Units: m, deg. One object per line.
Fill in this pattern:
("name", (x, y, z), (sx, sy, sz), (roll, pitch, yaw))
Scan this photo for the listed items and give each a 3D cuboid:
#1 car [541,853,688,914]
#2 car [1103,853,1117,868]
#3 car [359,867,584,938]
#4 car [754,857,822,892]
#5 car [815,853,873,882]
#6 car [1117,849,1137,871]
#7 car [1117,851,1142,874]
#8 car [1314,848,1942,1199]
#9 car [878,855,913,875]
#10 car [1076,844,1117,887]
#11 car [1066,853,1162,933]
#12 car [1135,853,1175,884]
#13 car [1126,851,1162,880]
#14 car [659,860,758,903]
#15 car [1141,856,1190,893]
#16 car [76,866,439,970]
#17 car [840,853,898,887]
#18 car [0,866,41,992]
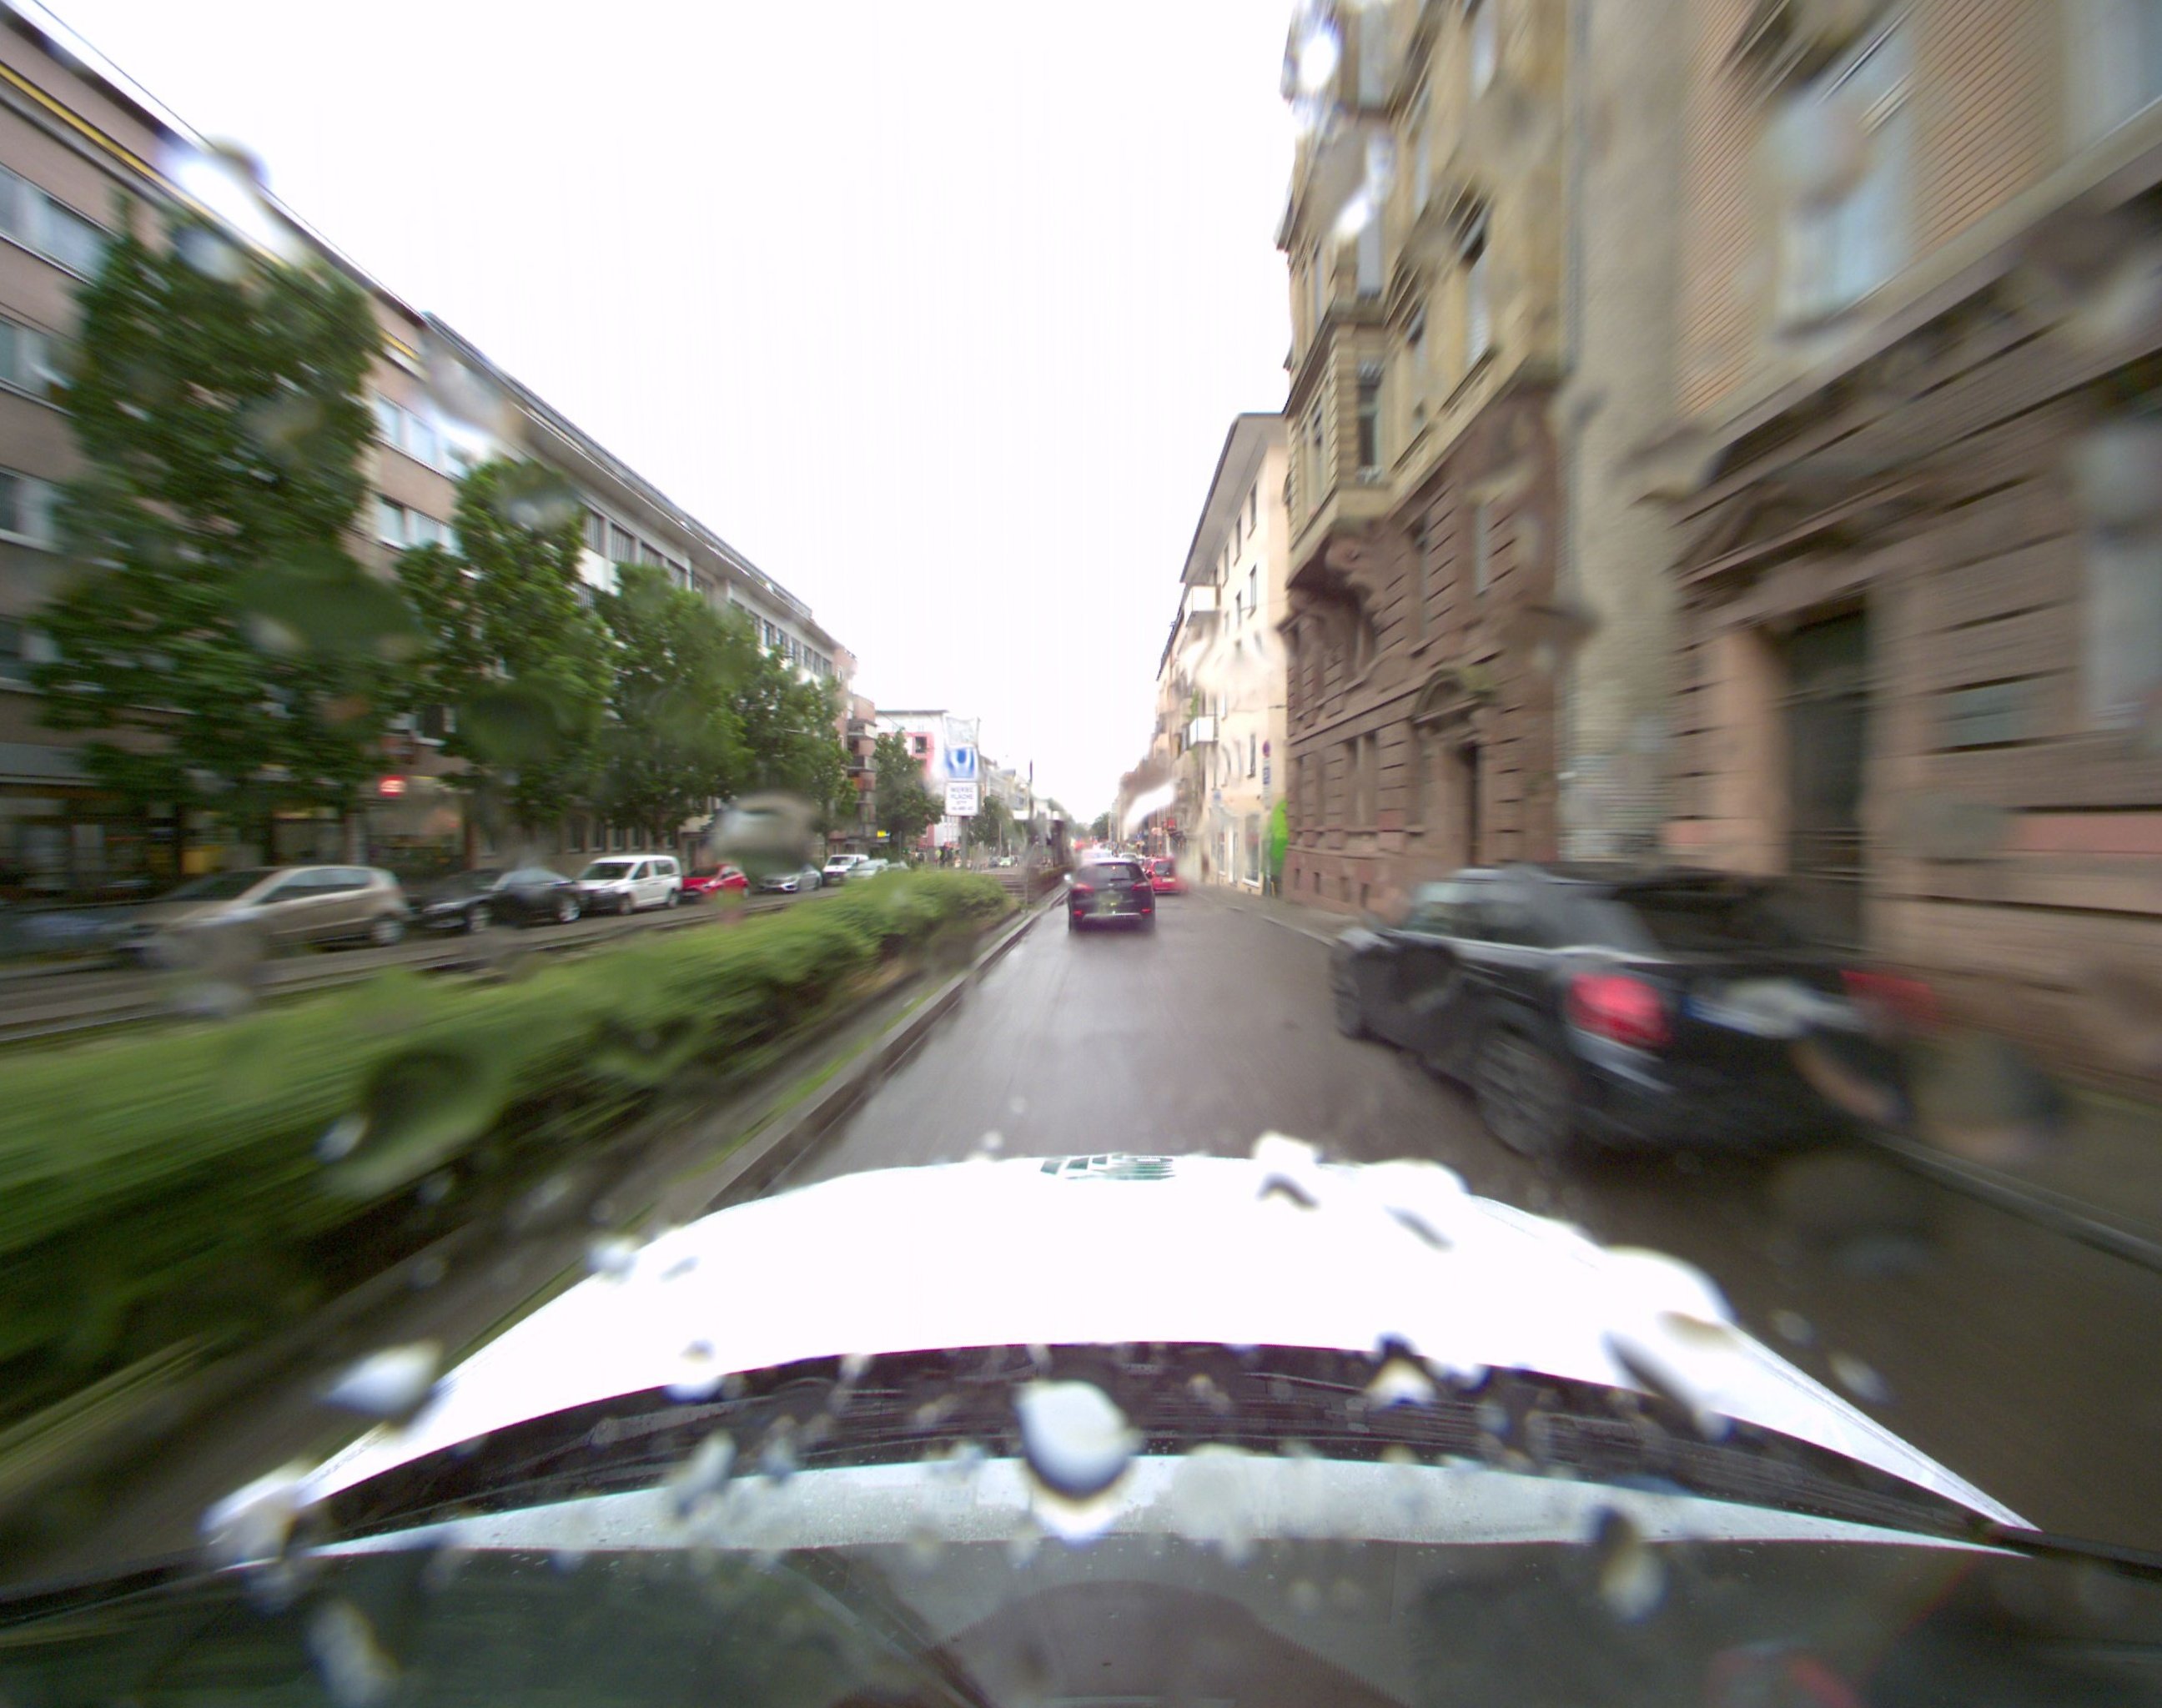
("car", (-14.162, 0.866, 25.081), (1.848, 1.701, 4.432), (0, -1, 1))
("car", (4.306, 1.013, 121.181), (1.986, 2.014, 4.001), (2, -2, 2))
("car", (-14.038, 1.058, 19.150), (1.849, 1.418, 4.432), (-2, -1, 1))
("car", (-13.751, 0.958, 38.463), (1.662, 1.558, 4.047), (0, -1, 1))
("car", (-13.842, 0.806, 47.937), (1.848, 1.637, 4.936), (0, -1, 1))
("car", (4.029, 0.574, 71.464), (1.585, 1.781, 3.779), (2, -2, 2))
("car", (3.872, 0.726, 65.784), (1.832, 1.781, 3.779), (2, -2, 2))
("car", (2.869, 0.722, 5.366), (1.572, 1.459, 3.820), (-1, 0, 0))
("car", (-13.638, 0.821, 60.044), (1.545, 1.395, 4.047), (0, -1, 1))
("car", (0.788, 0.549, 42.161), (1.982, 2.060, 4.645), (0, 0, 1))
("car", (0.622, 0.772, 17.869), (1.837, 1.507, 3.998), (-1, 0, -1))
("car", (3.559, 0.683, 39.481), (1.664, 1.421, 3.476), (-1, 0, 1))
("car", (3.681, 0.681, 48.051), (1.851, 1.585, 3.779), (2, -2, 2))
("car", (-14.172, 1.037, 31.254), (1.848, 1.527, 4.047), (0, -1, 1))
("car", (3.390, 0.797, 33.132), (1.664, 1.421, 3.476), (-1, 0, 1))
("car", (-14.199, 0.993, 14.528), (1.848, 1.548, 4.432), (0, -1, 1))
("car", (-11.000, 0.840, 42.536), (1.848, 1.637, 4.047), (0, -1, 1))
("car", (-14.320, 0.957, 8.063), (1.849, 1.548, 4.722), (-3, -1, 1))
